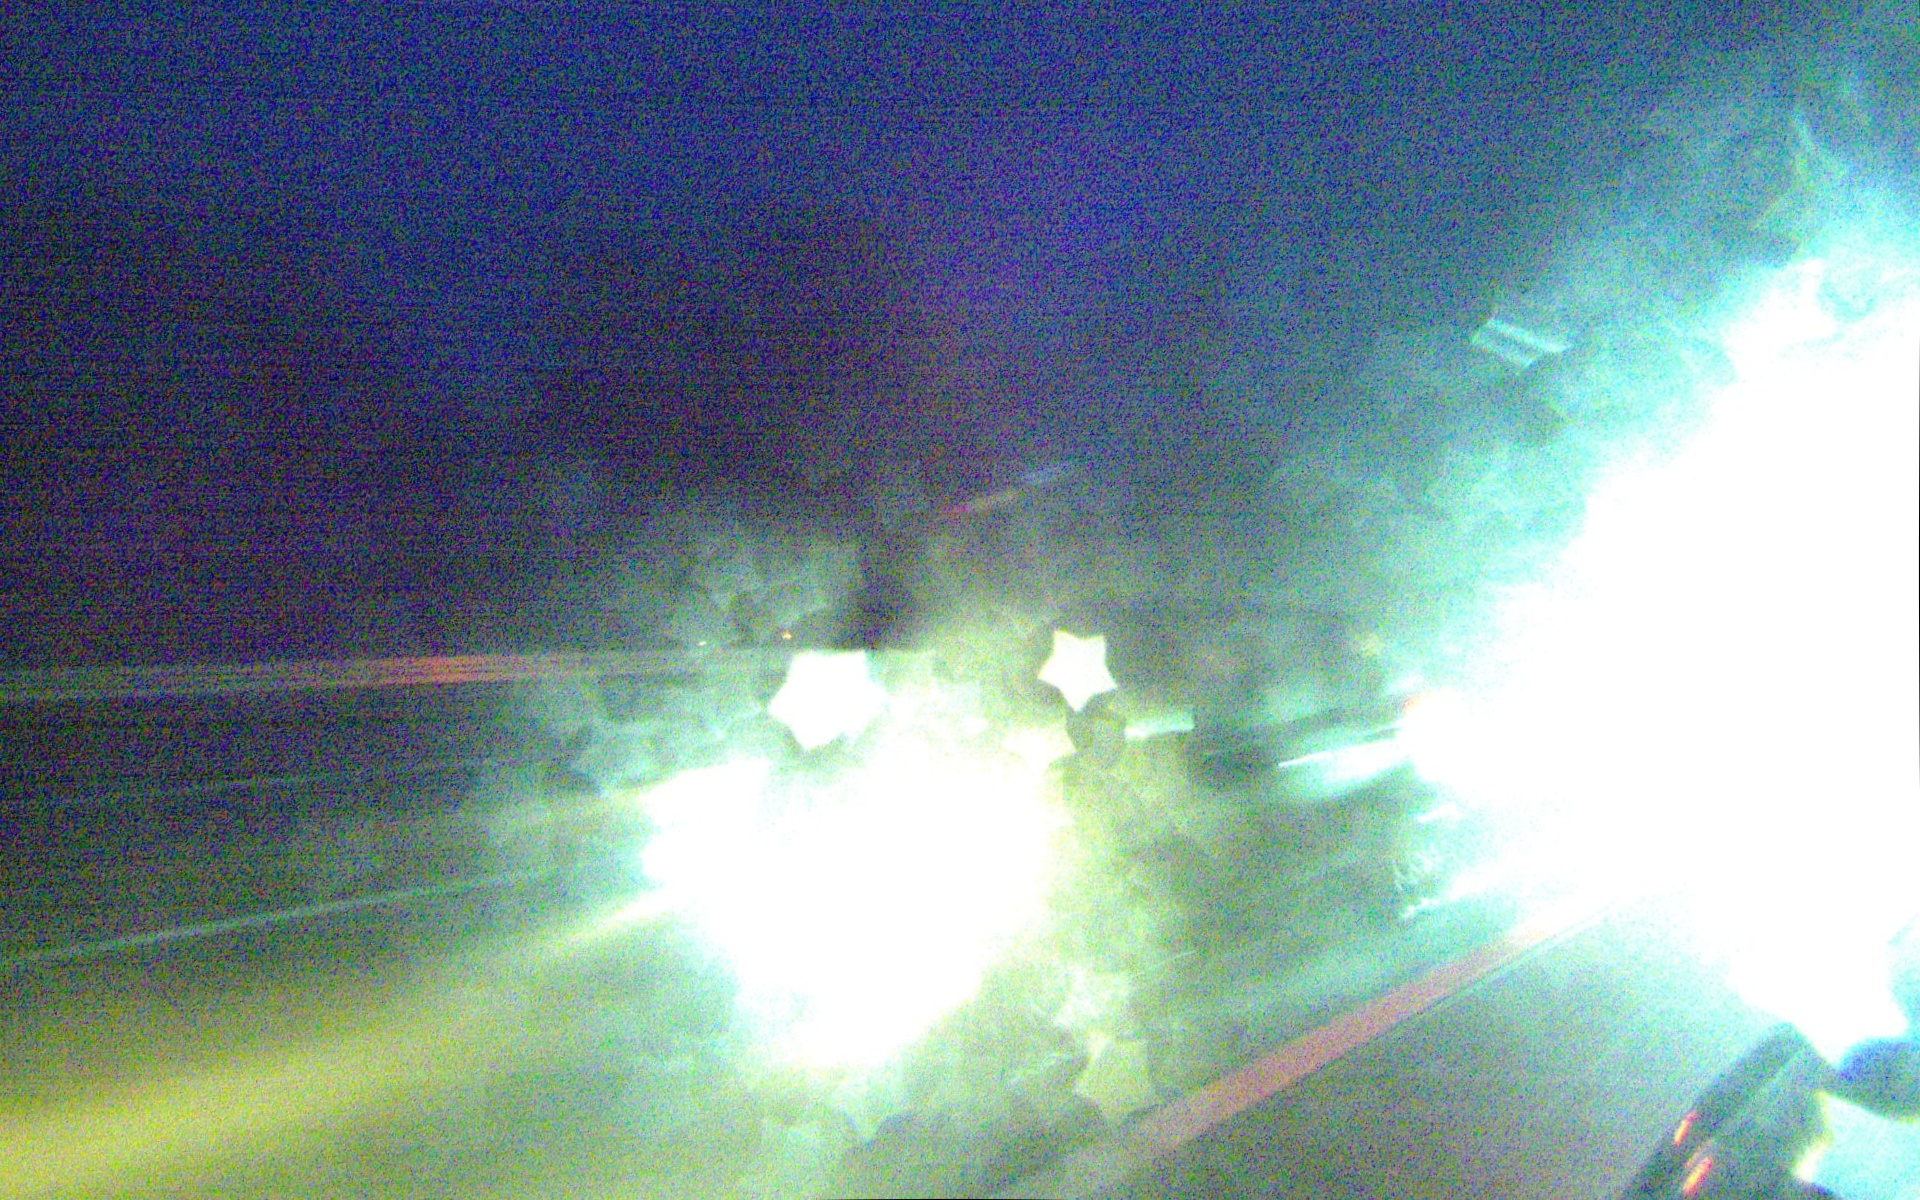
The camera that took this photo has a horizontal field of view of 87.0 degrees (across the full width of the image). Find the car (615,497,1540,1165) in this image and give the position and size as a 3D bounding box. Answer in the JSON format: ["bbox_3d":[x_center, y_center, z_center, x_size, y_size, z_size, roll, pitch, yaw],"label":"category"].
[{"bbox_3d":[0.841,0.585,4.559,4.182,1.638,1.803,1,-1,-41],"label":"car"}]
